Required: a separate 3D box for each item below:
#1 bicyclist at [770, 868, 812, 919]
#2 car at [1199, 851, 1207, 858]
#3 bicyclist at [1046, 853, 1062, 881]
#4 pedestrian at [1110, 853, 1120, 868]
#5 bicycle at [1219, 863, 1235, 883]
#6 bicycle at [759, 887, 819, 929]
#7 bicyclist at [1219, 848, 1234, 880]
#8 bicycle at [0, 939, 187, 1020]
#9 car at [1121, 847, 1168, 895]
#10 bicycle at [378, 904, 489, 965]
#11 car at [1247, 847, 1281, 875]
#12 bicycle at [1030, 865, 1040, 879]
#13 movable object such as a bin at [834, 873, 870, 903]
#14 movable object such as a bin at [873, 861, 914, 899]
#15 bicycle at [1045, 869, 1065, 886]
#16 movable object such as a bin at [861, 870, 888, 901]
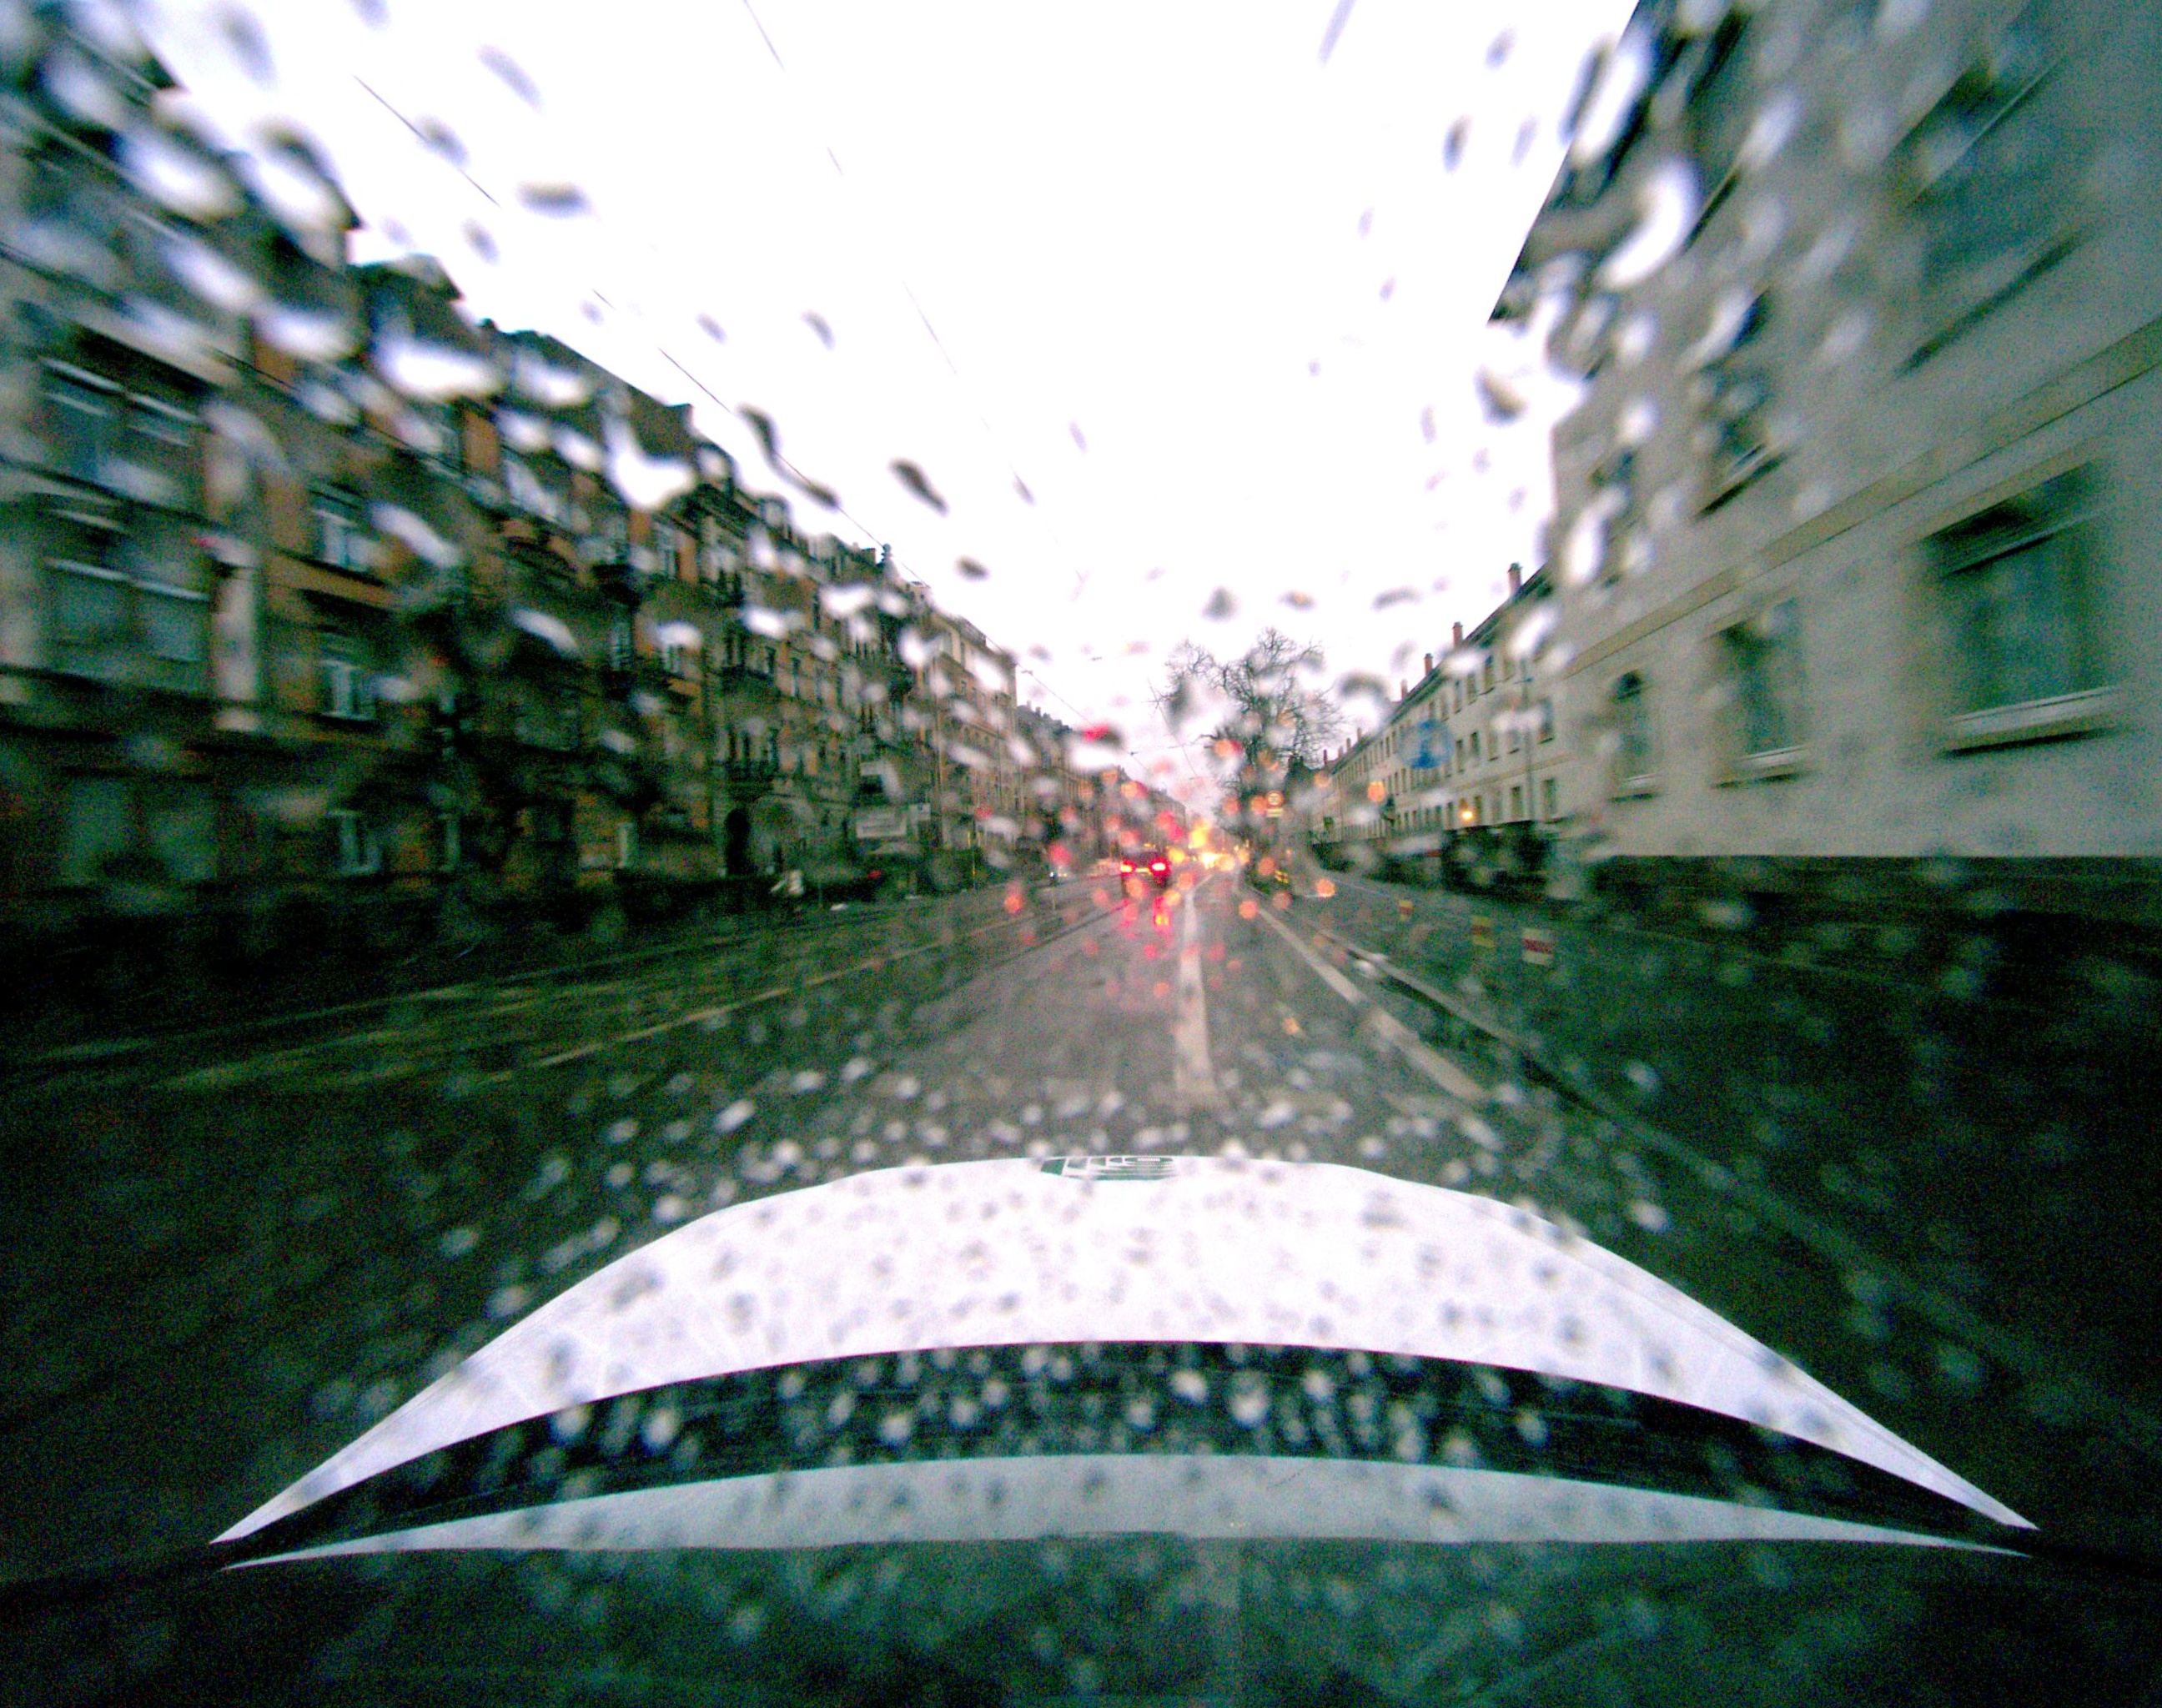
[{"bbox_3d":[-8.046,1.073,22.623,0.699,1.364,0.947,-1,0,12],"label":"bicyclist"},{"bbox_3d":[32.188,0.193,214.906,1.911,1.720,4.012,-3,0,11],"label":"car"},{"bbox_3d":[-1.590,0.793,48.444,0.679,1.616,0.768,-3,-1,12],"label":"bicyclist"},{"bbox_3d":[4.009,0.771,96.384,0.723,1.773,0.763,-3,-1,-29],"label":"pedestrian"},{"bbox_3d":[8.096,1.044,45.065,0.726,1.007,1.770,-3,0,12],"label":"bicycle"},{"bbox_3d":[-8.059,1.466,22.557,0.677,1.007,1.809,-3,0,12],"label":"bicycle"},{"bbox_3d":[8.058,0.548,45.005,0.725,1.736,0.768,-3,-1,12],"label":"bicyclist"},{"bbox_3d":[-14.067,1.741,11.569,0.397,0.862,1.855,-3,0,12],"label":"bicycle"},{"bbox_3d":[2.654,0.645,33.357,1.792,1.871,4.025,0,0,6],"label":"car"},{"bbox_3d":[-12.876,1.579,16.275,0.413,1.007,1.855,-3,0,12],"label":"bicycle"},{"bbox_3d":[10.849,0.390,48.600,1.774,1.509,3.999,-3,0,11],"label":"car"},{"bbox_3d":[-3.244,1.297,58.097,0.261,0.915,1.691,3,1,11],"label":"bicycle"},{"bbox_3d":[-10.027,1.478,35.715,1.178,1.207,0.948,-2,0,9],"label":"movable object such as a bin"},{"bbox_3d":[-8.347,1.146,36.273,1.234,1.586,1.313,-2,0,16],"label":"movable object such as a bin"},{"bbox_3d":[-1.546,1.391,48.567,0.674,0.972,1.940,-3,0,12],"label":"bicycle"},{"bbox_3d":[-8.983,1.348,35.439,0.890,1.292,0.748,-2,0,9],"label":"movable object such as a bin"}]
